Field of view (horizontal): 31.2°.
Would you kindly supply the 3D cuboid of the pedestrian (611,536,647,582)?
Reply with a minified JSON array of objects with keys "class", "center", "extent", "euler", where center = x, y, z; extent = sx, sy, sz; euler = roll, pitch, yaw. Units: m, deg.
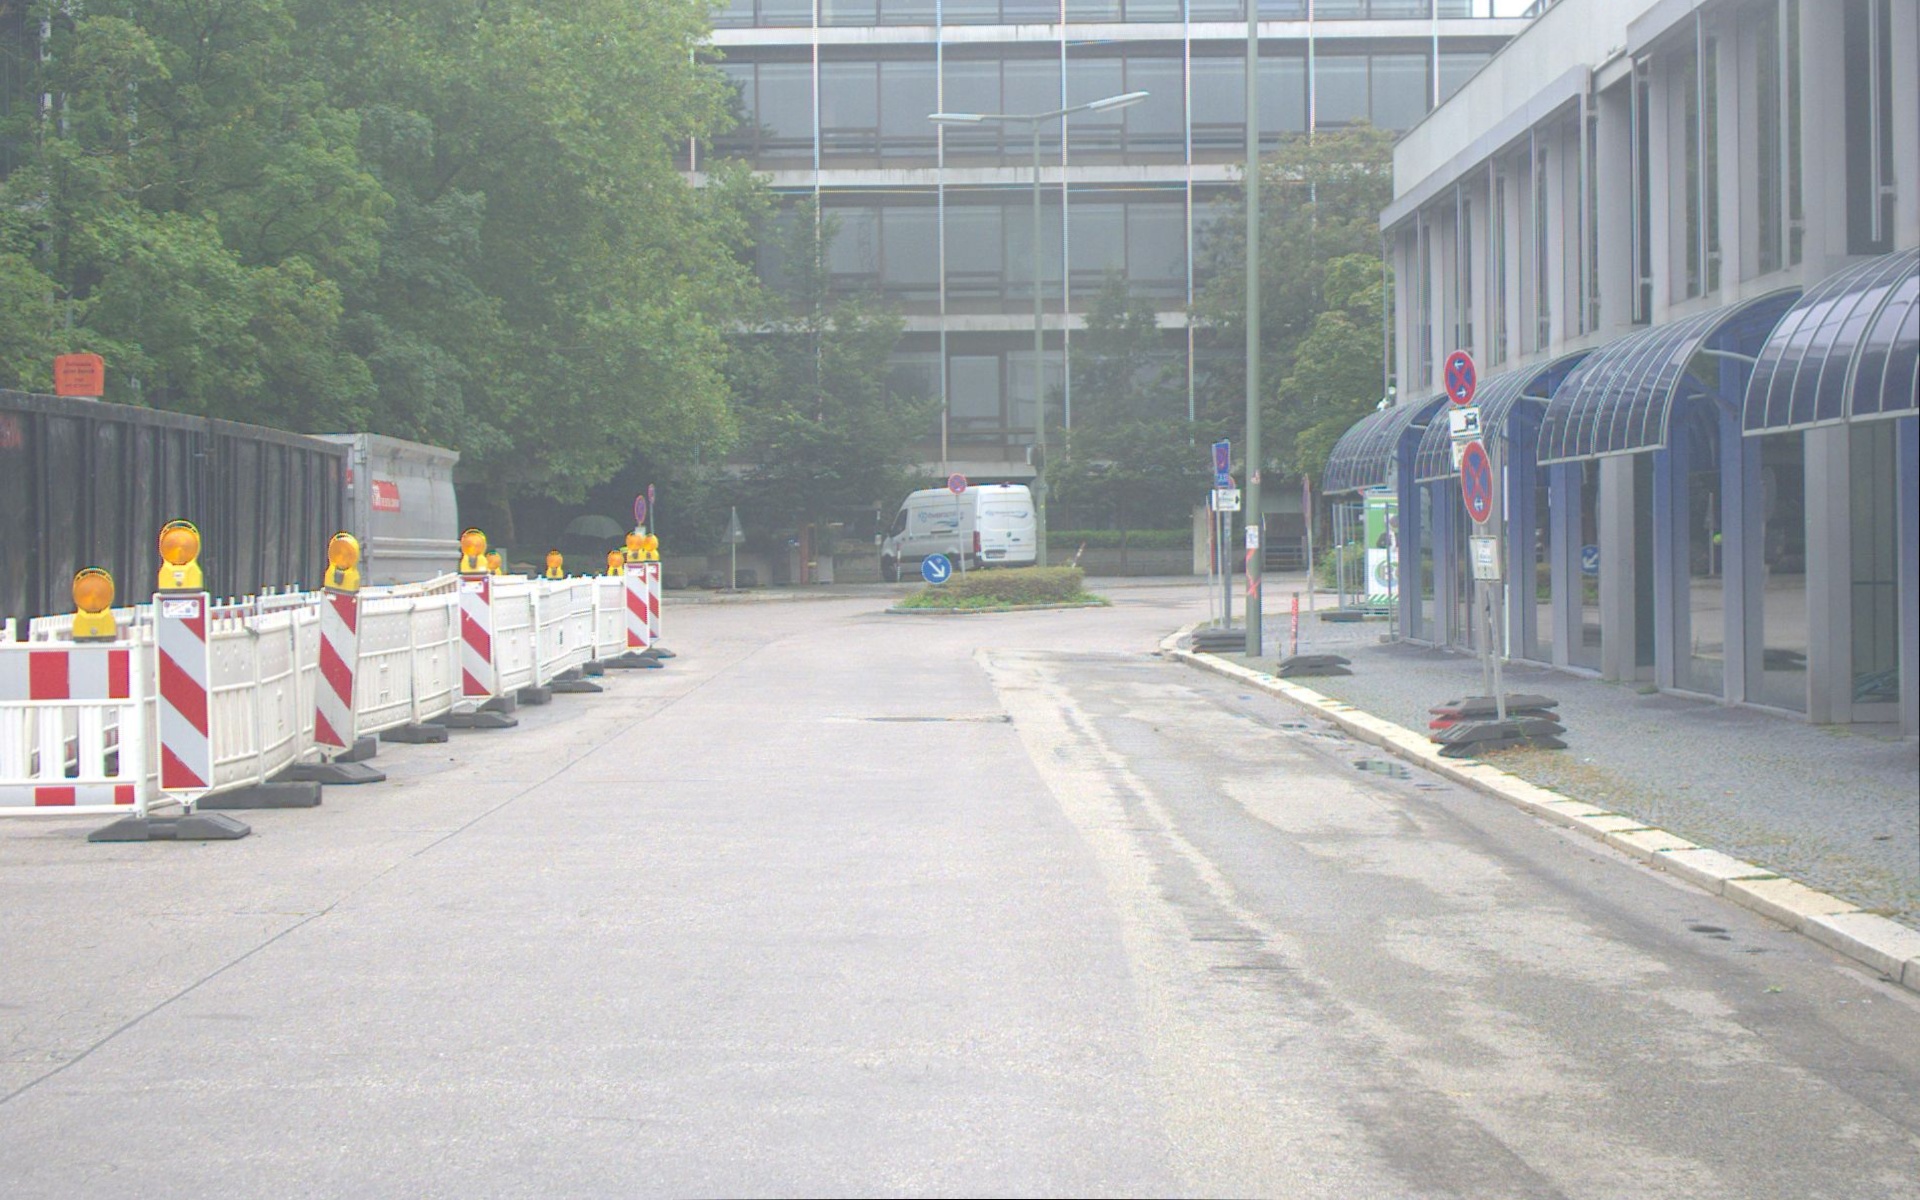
[{"class":"pedestrian","center":[-9.050,-1.123,93.975],"extent":[0.926,1.273,0.542],"euler":[0,1,2]}]

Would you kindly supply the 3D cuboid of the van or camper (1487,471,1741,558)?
[{"class":"van or camper","center":[17.683,-2.323,93.047],"extent":[6.396,2.273,2.256],"euler":[-1,1,-14]}]

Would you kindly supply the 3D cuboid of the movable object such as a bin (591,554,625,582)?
[{"class":"movable object such as a bin","center":[-9.616,-0.871,93.946],"extent":[0.834,0.751,0.572],"euler":[0,1,3]}]

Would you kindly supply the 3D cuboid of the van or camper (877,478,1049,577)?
[{"class":"van or camper","center":[0.027,-1.987,96.082],"extent":[2.155,2.572,6.540],"euler":[-1,0,-26]}]
